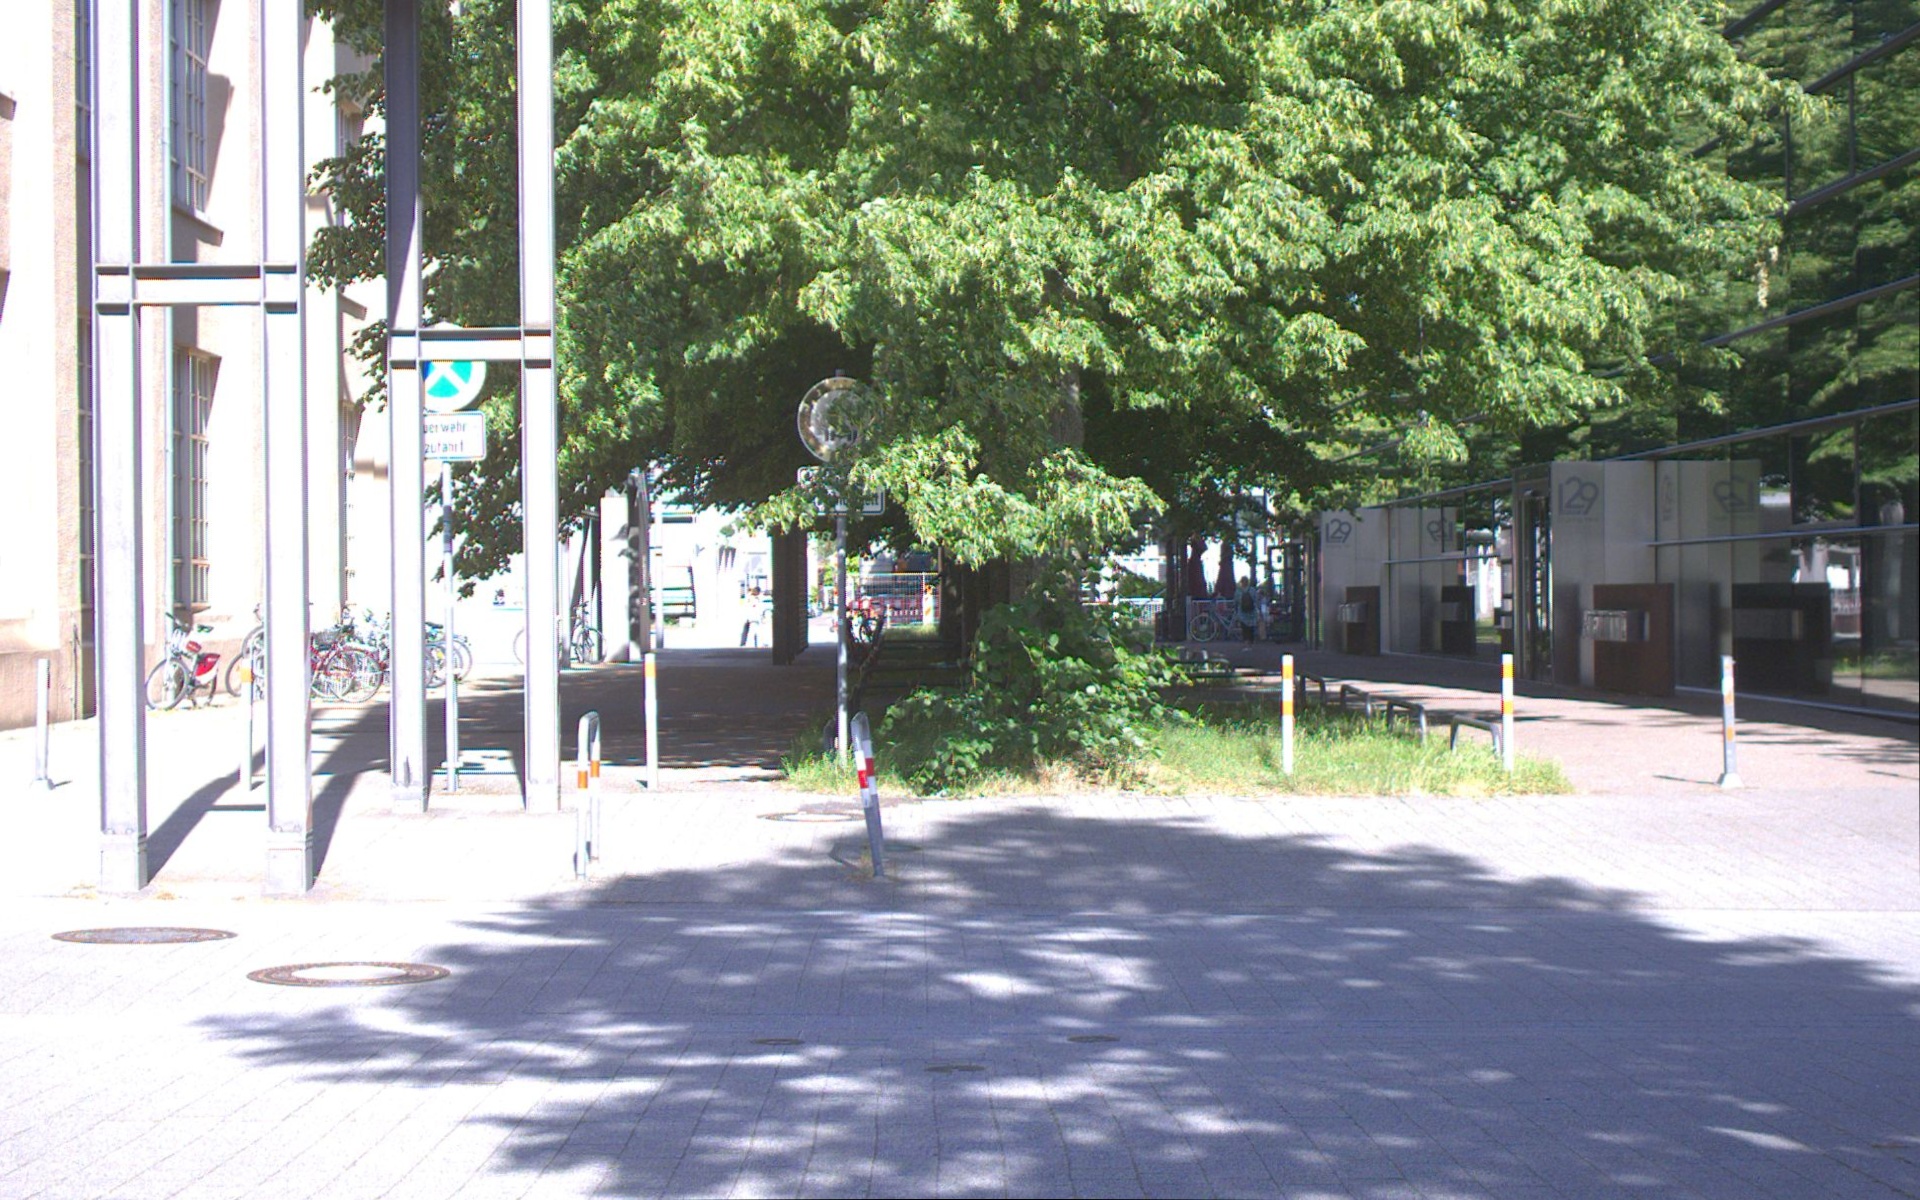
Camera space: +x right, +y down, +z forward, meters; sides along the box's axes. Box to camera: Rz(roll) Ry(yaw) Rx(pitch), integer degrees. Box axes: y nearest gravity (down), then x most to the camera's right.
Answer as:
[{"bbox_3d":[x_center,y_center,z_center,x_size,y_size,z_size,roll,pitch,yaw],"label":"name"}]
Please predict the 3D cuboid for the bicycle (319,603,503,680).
[{"bbox_3d":[-8.391,0.625,52.599,2.731,1.147,0.719,0,0,-5],"label":"bicycle"}]

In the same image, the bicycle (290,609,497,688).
[{"bbox_3d":[-7.899,0.672,48.058,2.800,1.059,0.719,0,0,-5],"label":"bicycle"}]

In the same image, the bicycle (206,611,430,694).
[{"bbox_3d":[-8.410,0.684,45.112,2.800,1.059,0.719,0,0,0],"label":"bicycle"}]

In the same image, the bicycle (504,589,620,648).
[{"bbox_3d":[-7.313,0.331,63.214,2.058,1.063,0.506,0,0,2],"label":"bicycle"}]

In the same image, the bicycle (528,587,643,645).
[{"bbox_3d":[-6.951,0.297,63.868,2.058,1.063,0.506,0,0,2],"label":"bicycle"}]

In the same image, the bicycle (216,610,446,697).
[{"bbox_3d":[-7.941,0.670,43.501,2.800,1.059,0.719,0,0,-5],"label":"bicycle"}]

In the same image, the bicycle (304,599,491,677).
[{"bbox_3d":[-8.468,0.569,51.809,2.731,1.147,0.719,0,0,-5],"label":"bicycle"}]

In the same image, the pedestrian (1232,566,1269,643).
[{"bbox_3d":[5.855,0.087,69.287,0.717,1.545,0.690,0,1,6],"label":"pedestrian"}]

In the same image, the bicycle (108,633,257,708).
[{"bbox_3d":[-9.116,0.809,40.431,0.778,0.789,2.883,0,1,7],"label":"bicycle"}]

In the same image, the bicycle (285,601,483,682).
[{"bbox_3d":[-8.418,0.606,50.300,2.800,1.147,0.719,0,0,-5],"label":"bicycle"}]

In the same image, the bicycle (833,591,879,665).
[{"bbox_3d":[-1.740,0.448,57.338,0.619,1.193,2.132,0,1,-6],"label":"bicycle"}]
